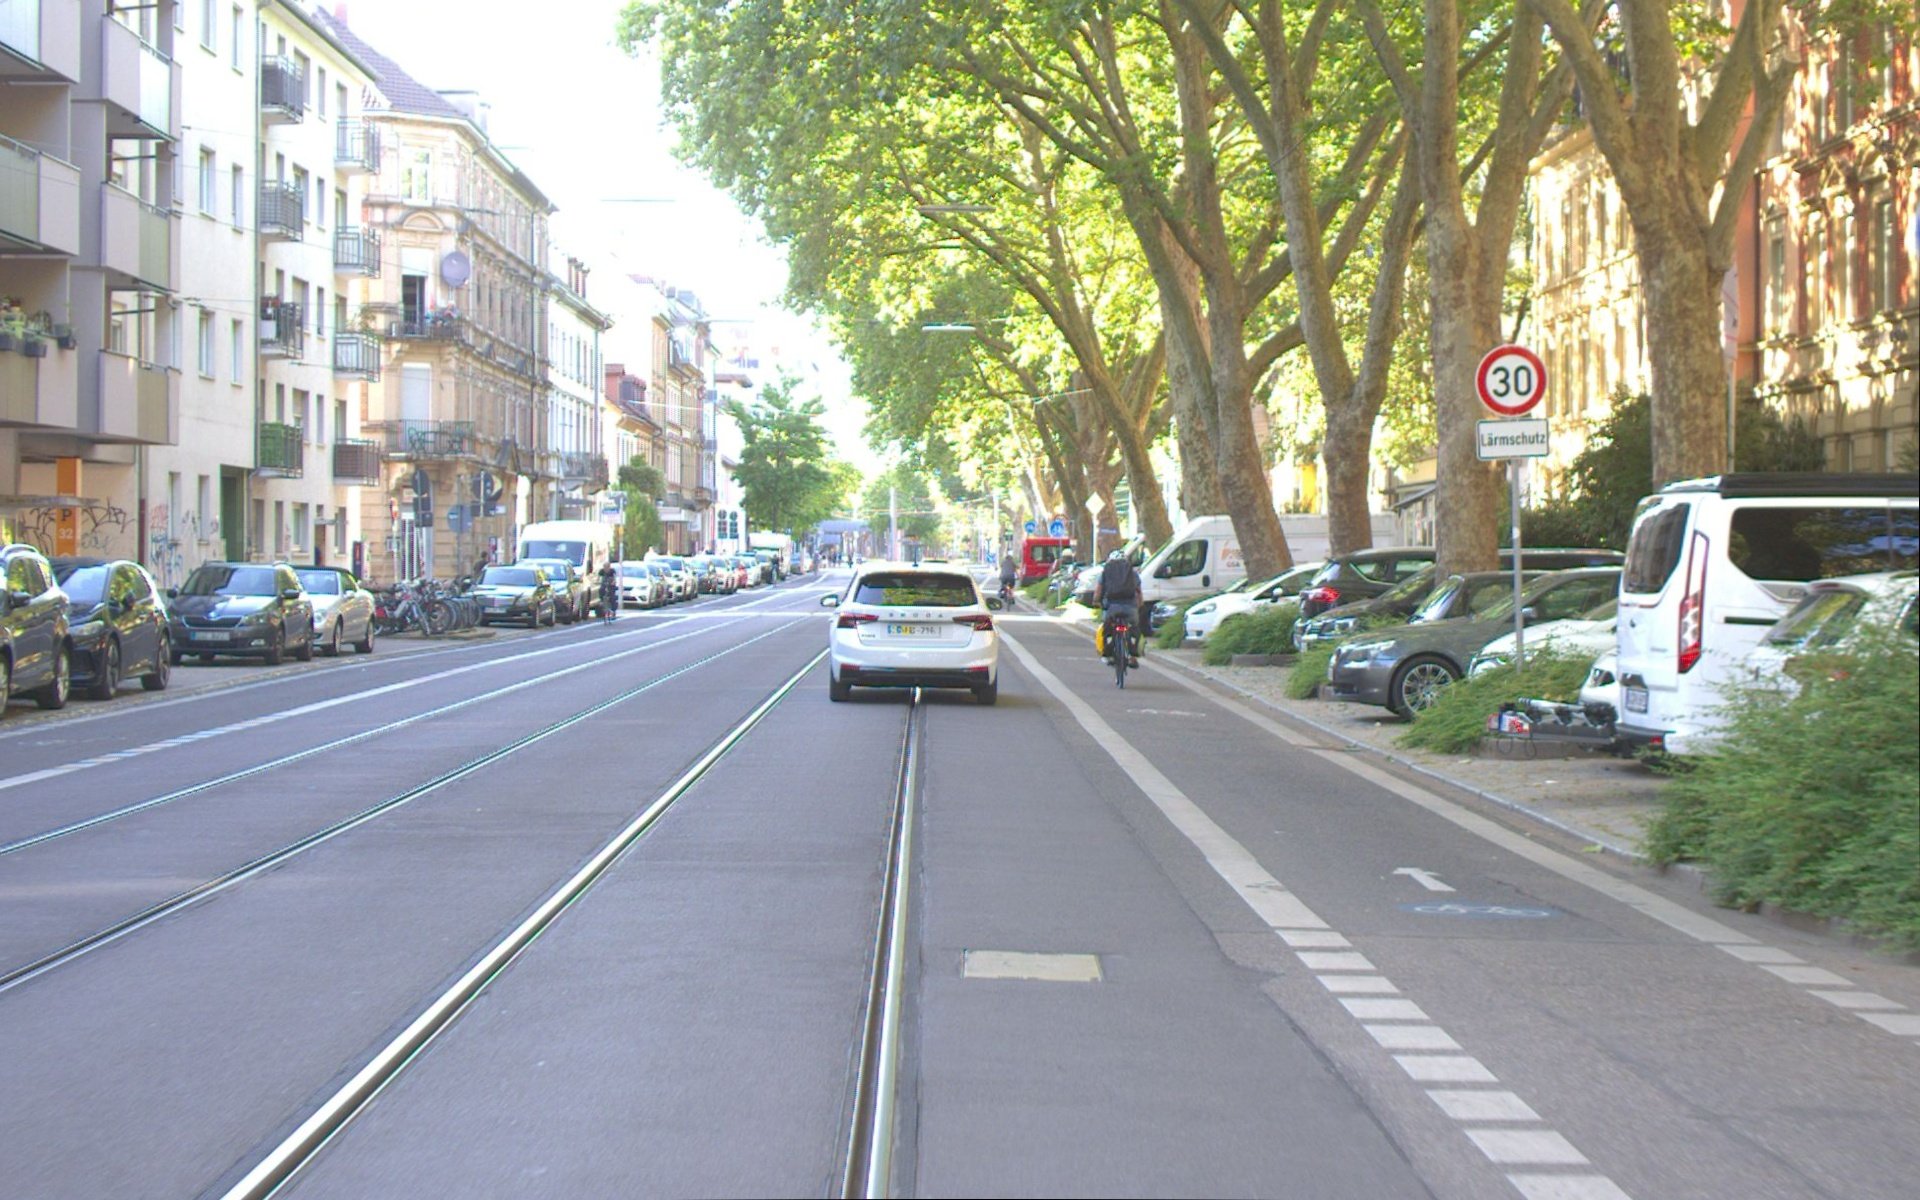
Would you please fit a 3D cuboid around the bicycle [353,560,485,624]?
[{"bbox_3d":[-10.817,-0.158,68.748,2.524,1.168,0.719,2,-1,-5],"label":"bicycle"}]

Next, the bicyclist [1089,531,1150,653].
[{"bbox_3d":[1.912,-0.106,41.251,0.678,1.438,1.047,0,1,0],"label":"bicyclist"}]

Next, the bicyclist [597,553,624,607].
[{"bbox_3d":[-8.373,-0.482,82.343,0.597,1.282,0.917,0,1,-3],"label":"bicyclist"}]

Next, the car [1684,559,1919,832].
[{"bbox_3d":[6.487,0.511,19.600,4.297,1.474,1.831,0,1,-1],"label":"car"}]

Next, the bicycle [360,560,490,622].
[{"bbox_3d":[-10.851,-0.176,69.736,2.524,1.168,0.719,2,-1,-5],"label":"bicycle"}]

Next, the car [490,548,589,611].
[{"bbox_3d":[-10.340,-0.526,84.790,1.993,1.525,4.000,0,1,0],"label":"car"}]

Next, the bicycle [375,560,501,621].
[{"bbox_3d":[-10.868,-0.197,71.639,2.524,1.168,0.719,2,-1,-6],"label":"bicycle"}]

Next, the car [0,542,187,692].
[{"bbox_3d":[-10.152,0.153,39.188,1.702,1.539,4.242,3,1,-1],"label":"car"}]

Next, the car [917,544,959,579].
[{"bbox_3d":[-0.917,-1.639,146.828,1.761,1.470,4.000,0,1,0],"label":"car"}]

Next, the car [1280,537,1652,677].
[{"bbox_3d":[6.132,0.068,41.997,4.234,1.661,1.848,0,1,-1],"label":"car"}]

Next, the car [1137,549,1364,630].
[{"bbox_3d":[5.580,-0.208,66.335,4.048,1.535,2.000,0,1,-6],"label":"car"}]

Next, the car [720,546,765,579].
[{"bbox_3d":[-10.907,-1.875,172.887,1.993,1.634,4.000,1,0,0],"label":"car"}]

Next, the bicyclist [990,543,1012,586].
[{"bbox_3d":[1.283,-1.127,107.899,0.649,1.339,0.934,0,1,-2],"label":"bicyclist"}]

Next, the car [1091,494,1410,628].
[{"bbox_3d":[5.794,-0.783,69.161,6.130,2.626,2.529,0,1,-2],"label":"car"}]

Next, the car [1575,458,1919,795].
[{"bbox_3d":[6.449,0.152,22.174,4.543,2.069,2.001,0,1,-3],"label":"car"}]

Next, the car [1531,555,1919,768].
[{"bbox_3d":[6.257,0.420,24.891,3.897,1.474,1.724,0,1,-3],"label":"car"}]

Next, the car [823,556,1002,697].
[{"bbox_3d":[-0.479,0.235,35.877,1.761,1.379,4.000,0,1,0],"label":"car"}]

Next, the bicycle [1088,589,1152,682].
[{"bbox_3d":[1.917,0.416,41.410,0.681,1.067,1.781,0,1,0],"label":"bicycle"}]

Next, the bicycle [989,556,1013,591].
[{"bbox_3d":[1.289,-0.840,107.890,0.649,1.067,1.583,0,1,-2],"label":"bicycle"}]

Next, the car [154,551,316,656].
[{"bbox_3d":[-10.415,0.016,49.600,1.653,1.432,3.837,0,1,-2],"label":"car"}]

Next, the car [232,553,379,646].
[{"bbox_3d":[-10.373,-0.039,54.696,1.485,1.398,3.990,0,1,2],"label":"car"}]

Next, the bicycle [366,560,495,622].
[{"bbox_3d":[-10.863,-0.189,70.585,2.524,1.168,0.719,2,-1,-5],"label":"bicycle"}]

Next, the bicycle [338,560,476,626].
[{"bbox_3d":[-10.778,-0.134,67.037,2.525,1.168,0.883,3,-1,-40],"label":"bicycle"}]

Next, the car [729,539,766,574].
[{"bbox_3d":[-12.752,-2.590,206.459,1.993,2.007,4.000,1,0,0],"label":"car"}]

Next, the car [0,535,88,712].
[{"bbox_3d":[-10.024,0.177,34.207,1.702,1.645,4.242,3,1,-2],"label":"car"}]

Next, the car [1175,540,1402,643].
[{"bbox_3d":[5.403,-0.153,56.913,3.634,1.661,1.822,0,1,2],"label":"car"}]

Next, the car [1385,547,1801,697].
[{"bbox_3d":[6.546,0.212,35.830,3.986,1.509,1.761,0,1,-1],"label":"car"}]

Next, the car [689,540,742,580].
[{"bbox_3d":[-10.453,-1.690,147.058,1.993,1.634,4.000,1,0,0],"label":"car"}]

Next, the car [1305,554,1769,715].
[{"bbox_3d":[5.540,0.314,33.388,4.142,1.509,1.931,0,1,-1],"label":"car"}]

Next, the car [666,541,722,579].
[{"bbox_3d":[-10.858,-1.626,140.367,1.993,1.525,4.000,0,1,0],"label":"car"}]

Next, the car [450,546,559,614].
[{"bbox_3d":[-10.440,-0.483,79.009,1.993,1.525,4.000,0,1,0],"label":"car"}]

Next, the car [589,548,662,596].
[{"bbox_3d":[-10.771,-0.912,111.061,1.993,1.525,4.000,0,1,0],"label":"car"}]

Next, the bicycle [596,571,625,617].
[{"bbox_3d":[-8.359,-0.156,82.240,0.605,1.067,1.583,0,1,-3],"label":"bicycle"}]

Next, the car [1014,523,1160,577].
[{"bbox_3d":[5.441,-2.165,148.000,6.130,2.274,2.529,0,1,-2],"label":"car"}]

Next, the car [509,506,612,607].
[{"bbox_3d":[-10.495,-1.145,90.727,2.178,2.588,4.949,0,1,0],"label":"car"}]

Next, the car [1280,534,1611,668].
[{"bbox_3d":[6.220,0.002,44.302,3.986,1.674,1.724,0,1,-1],"label":"car"}]

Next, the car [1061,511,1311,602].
[{"bbox_3d":[5.735,-1.111,87.780,6.130,2.274,2.529,0,1,-2],"label":"car"}]

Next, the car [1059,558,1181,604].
[{"bbox_3d":[5.445,-0.651,117.260,4.049,1.535,2.000,0,1,-1],"label":"car"}]

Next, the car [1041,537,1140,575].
[{"bbox_3d":[5.433,-1.827,143.311,4.049,1.535,2.000,0,1,-1],"label":"car"}]

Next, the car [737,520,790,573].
[{"bbox_3d":[-12.191,-3.293,213.608,2.968,3.145,5.847,1,0,0],"label":"car"}]

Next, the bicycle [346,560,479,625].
[{"bbox_3d":[-10.793,-0.145,67.861,2.524,1.168,0.719,2,-1,-6],"label":"bicycle"}]

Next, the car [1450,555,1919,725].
[{"bbox_3d":[6.602,0.342,31.138,4.036,1.474,1.923,0,1,0],"label":"car"}]

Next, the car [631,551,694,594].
[{"bbox_3d":[-10.801,-1.006,125.024,1.993,1.525,4.000,0,1,0],"label":"car"}]
